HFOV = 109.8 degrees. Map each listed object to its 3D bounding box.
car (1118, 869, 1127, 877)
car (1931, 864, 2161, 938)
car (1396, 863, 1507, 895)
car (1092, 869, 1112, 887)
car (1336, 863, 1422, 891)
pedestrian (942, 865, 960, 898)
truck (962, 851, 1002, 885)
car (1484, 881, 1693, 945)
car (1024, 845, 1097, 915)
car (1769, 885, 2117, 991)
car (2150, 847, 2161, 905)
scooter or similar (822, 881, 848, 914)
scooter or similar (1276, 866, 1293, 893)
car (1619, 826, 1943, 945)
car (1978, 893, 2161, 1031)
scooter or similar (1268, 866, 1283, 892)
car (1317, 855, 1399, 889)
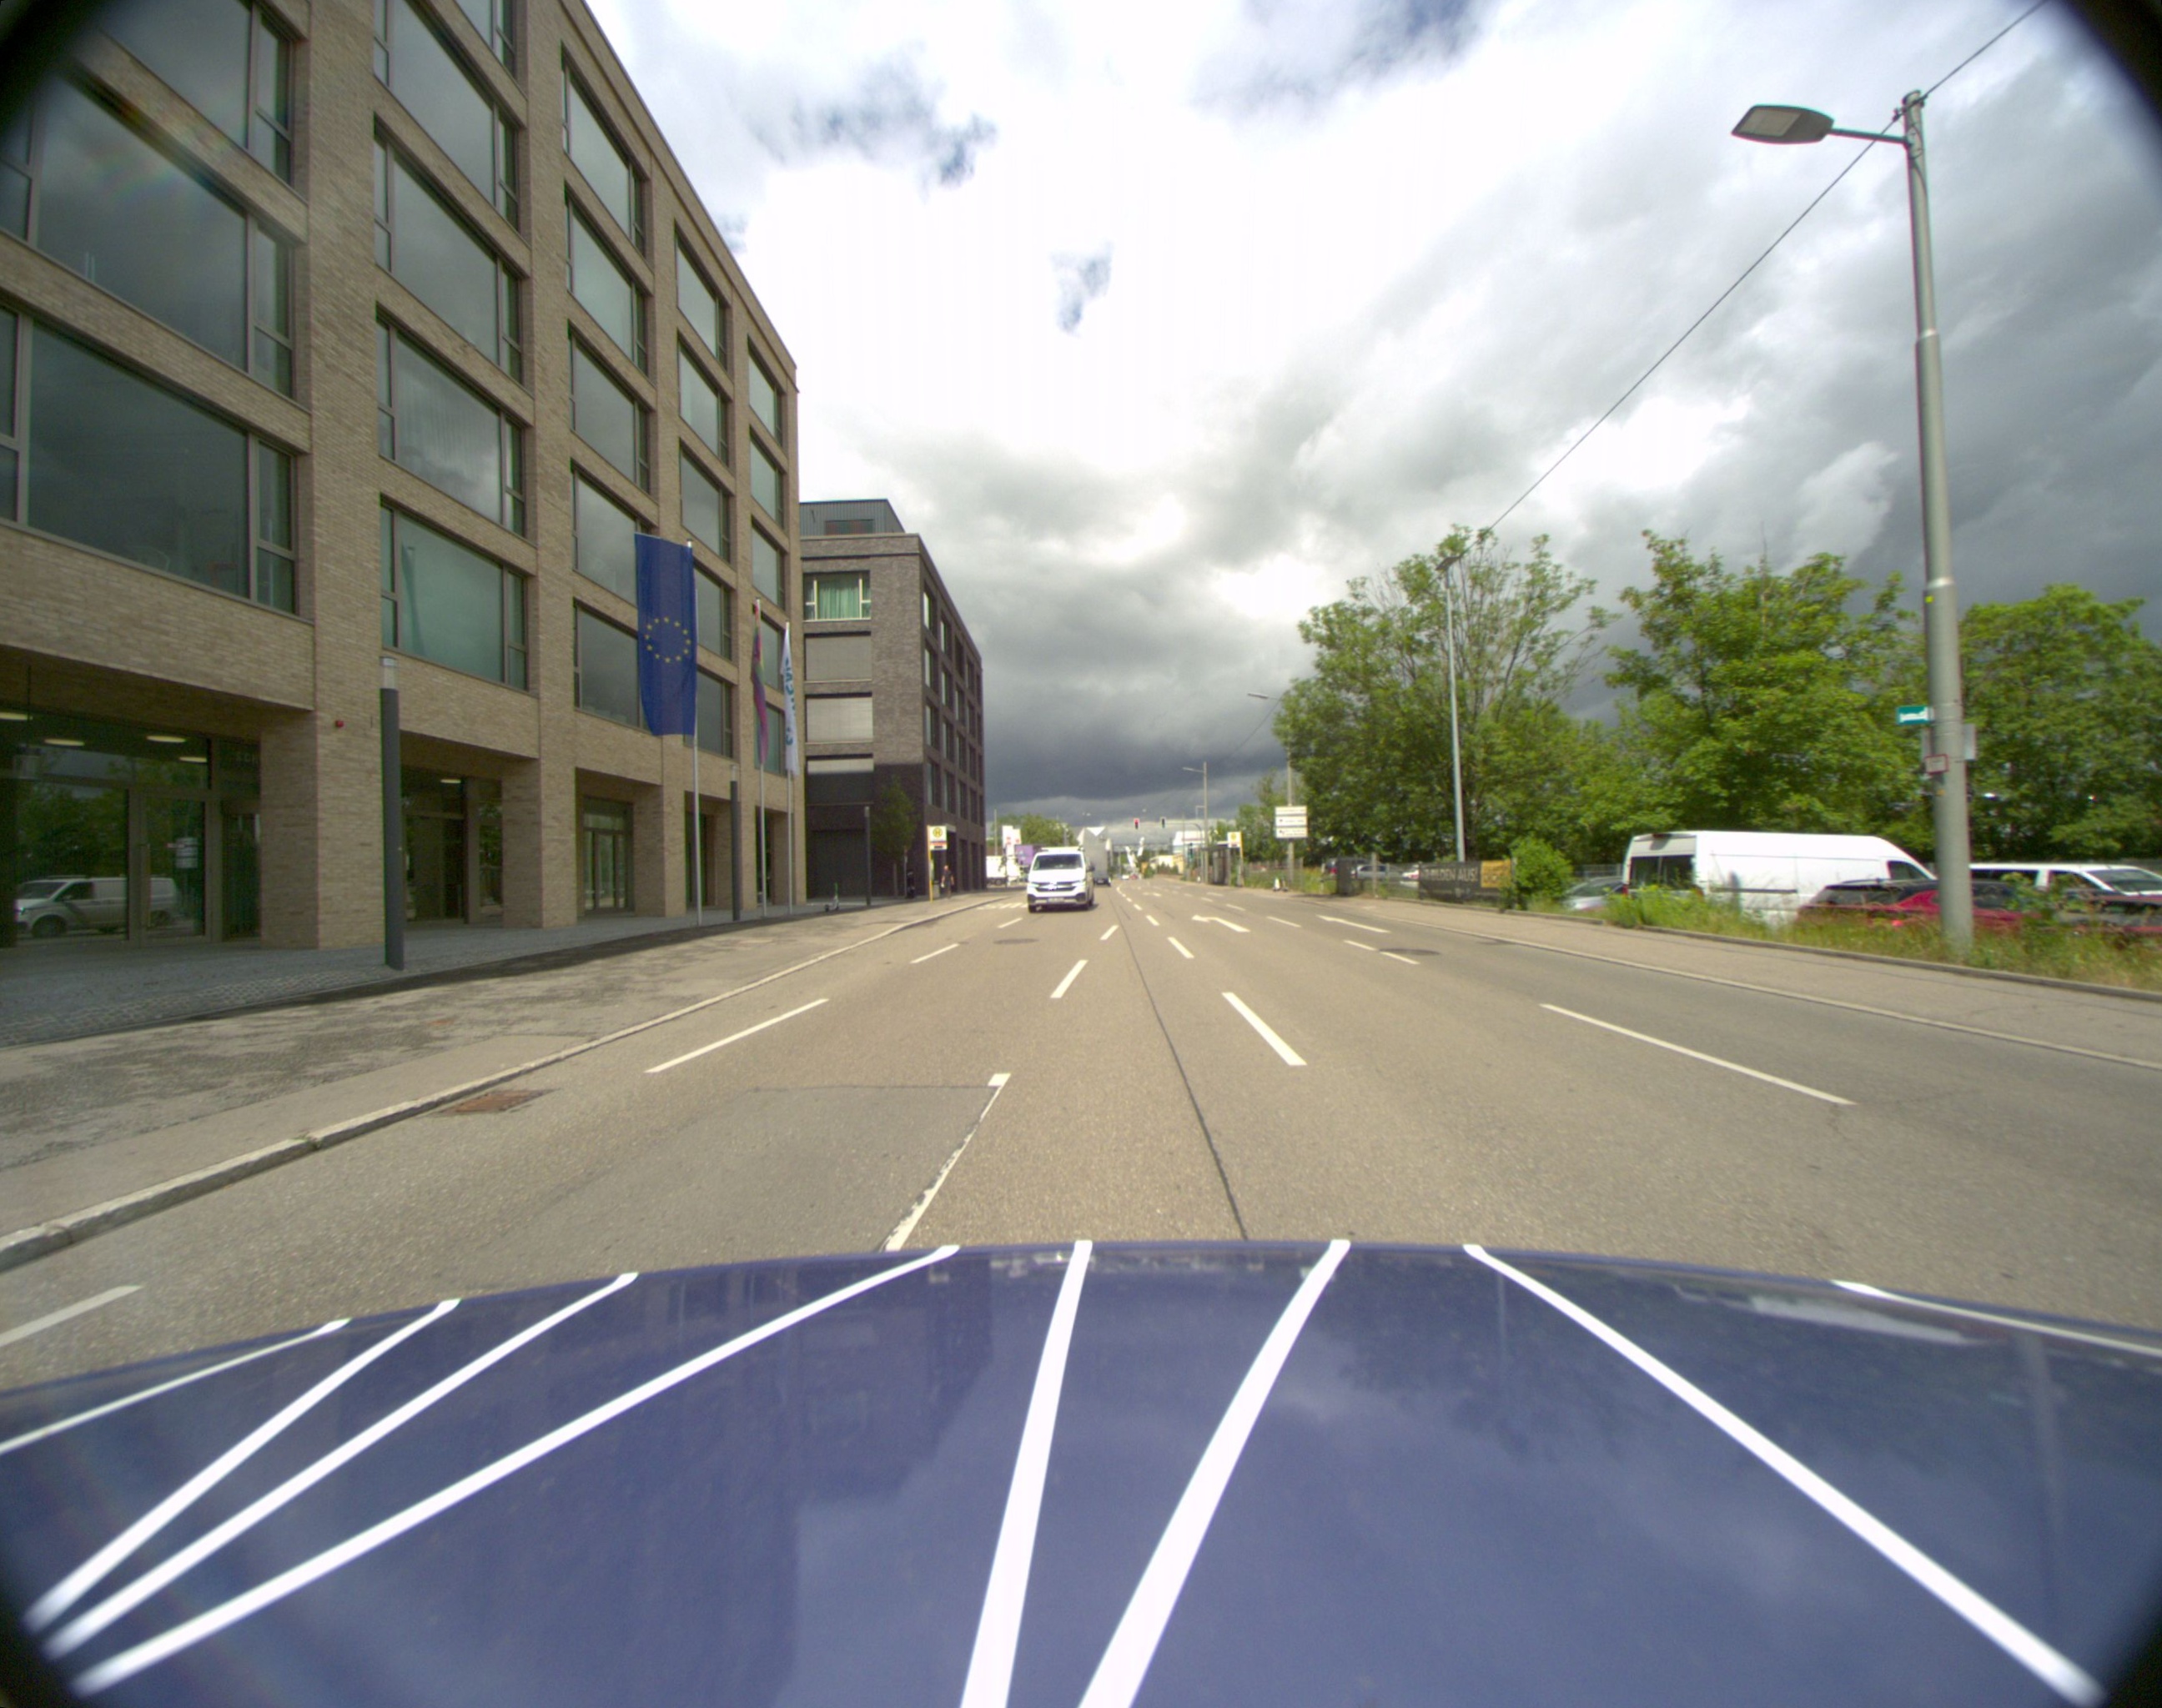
[{"bbox_3d":[9.033,4.116,165.603,1.870,1.781,4.209,-1,-1,2],"label":"car"},{"bbox_3d":[26.305,1.140,20.291,1.841,1.718,4.918,-1,-1,3],"label":"car"},{"bbox_3d":[17.415,1.156,35.889,4.285,1.373,1.867,-1,0,6],"label":"car"},{"bbox_3d":[1.925,2.197,70.006,1.726,1.394,4.207,0,1,1],"label":"car"},{"bbox_3d":[17.304,1.309,44.229,4.289,1.478,1.910,-1,0,-6],"label":"car"},{"bbox_3d":[-6.823,1.444,39.923,0.685,1.717,0.962,-2,-1,1],"label":"pedestrian"},{"bbox_3d":[-11.962,1.656,92.934,2.835,3.888,10.370,-1,-1,3],"label":"truck"},{"bbox_3d":[12.905,1.483,19.536,4.042,1.378,1.929,-2,1,3],"label":"car"},{"bbox_3d":[-0.588,0.780,25.014,1.935,2.078,4.209,-1,0,4],"label":"car"},{"bbox_3d":[13.305,1.271,11.921,3.344,1.401,1.728,-2,1,5],"label":"car"},{"bbox_3d":[34.505,0.616,22.641,4.177,1.718,1.840,-1,-1,-17],"label":"car"},{"bbox_3d":[-9.096,1.597,28.126,0.428,1.146,1.404,-1,-1,1],"label":"scooter or similar"},{"bbox_3d":[9.695,1.192,36.236,0.536,1.258,1.472,-3,-1,7],"label":"scooter or similar"},{"bbox_3d":[13.268,0.598,14.657,4.171,2.001,2.199,-2,-1,-1],"label":"car"},{"bbox_3d":[14.194,1.231,9.256,4.041,1.378,1.929,-2,1,5],"label":"car"},{"bbox_3d":[9.649,1.235,37.737,0.535,1.254,1.474,-3,-1,19],"label":"scooter or similar"},{"bbox_3d":[17.321,1.126,47.692,4.289,2.002,2.140,-1,0,-5],"label":"car"}]
